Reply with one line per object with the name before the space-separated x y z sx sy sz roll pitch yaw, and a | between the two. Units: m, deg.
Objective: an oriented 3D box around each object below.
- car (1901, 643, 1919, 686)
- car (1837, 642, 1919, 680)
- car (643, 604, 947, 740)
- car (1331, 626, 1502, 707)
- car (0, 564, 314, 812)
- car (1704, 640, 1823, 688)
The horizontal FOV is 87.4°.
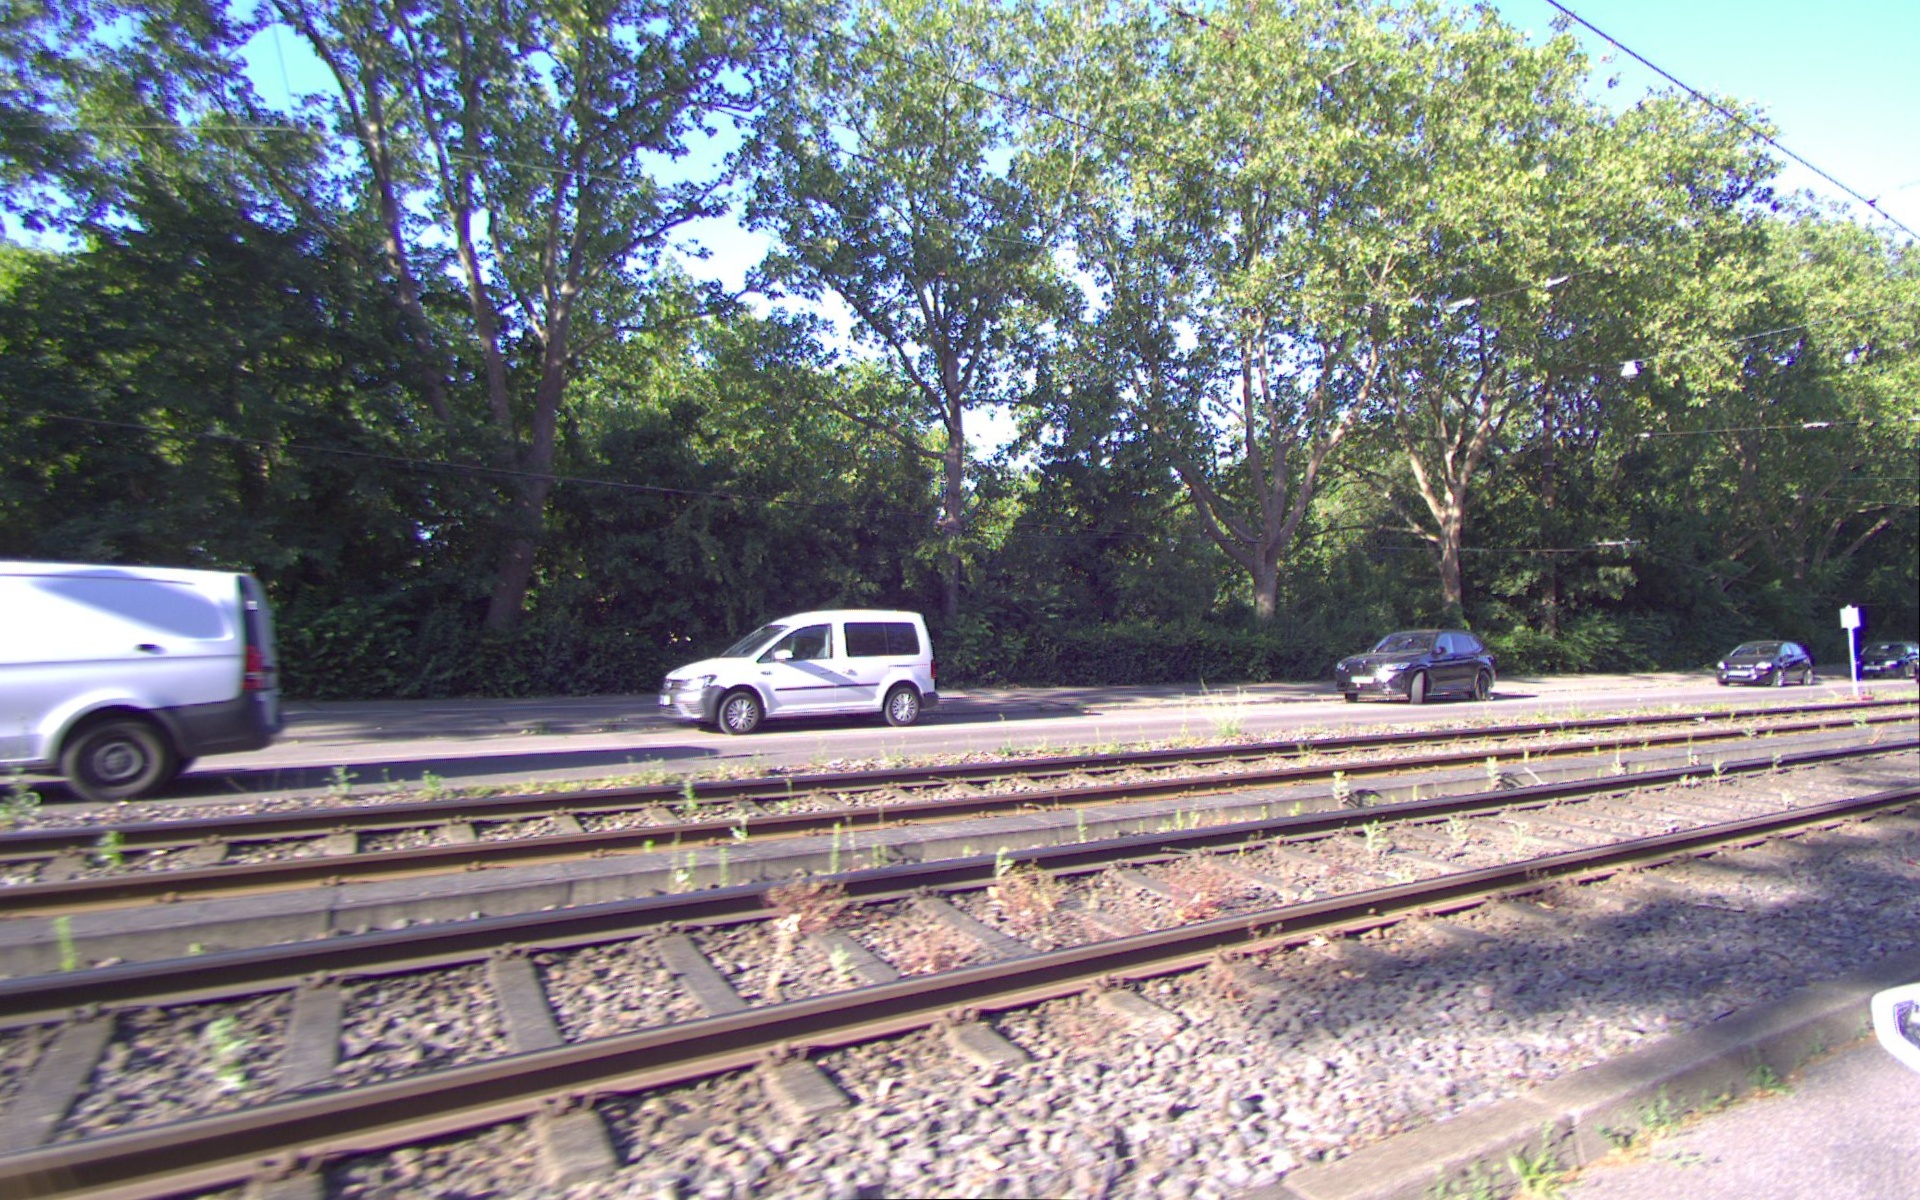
car | 34.173 2.192 34.229 4.697 1.433 1.910 2 -4 -32
car | 37.632 2.464 40.872 4.277 1.455 1.817 2 -3 -33
car | -2.511 1.075 15.714 4.347 1.864 1.817 2 -3 -33
car | 10.767 1.523 23.585 4.354 1.741 1.814 2 -3 -37
car | -8.234 0.686 8.093 4.979 1.876 1.818 2 -3 -31
car | 26.877 2.108 33.565 4.347 1.525 1.817 2 -3 -33
